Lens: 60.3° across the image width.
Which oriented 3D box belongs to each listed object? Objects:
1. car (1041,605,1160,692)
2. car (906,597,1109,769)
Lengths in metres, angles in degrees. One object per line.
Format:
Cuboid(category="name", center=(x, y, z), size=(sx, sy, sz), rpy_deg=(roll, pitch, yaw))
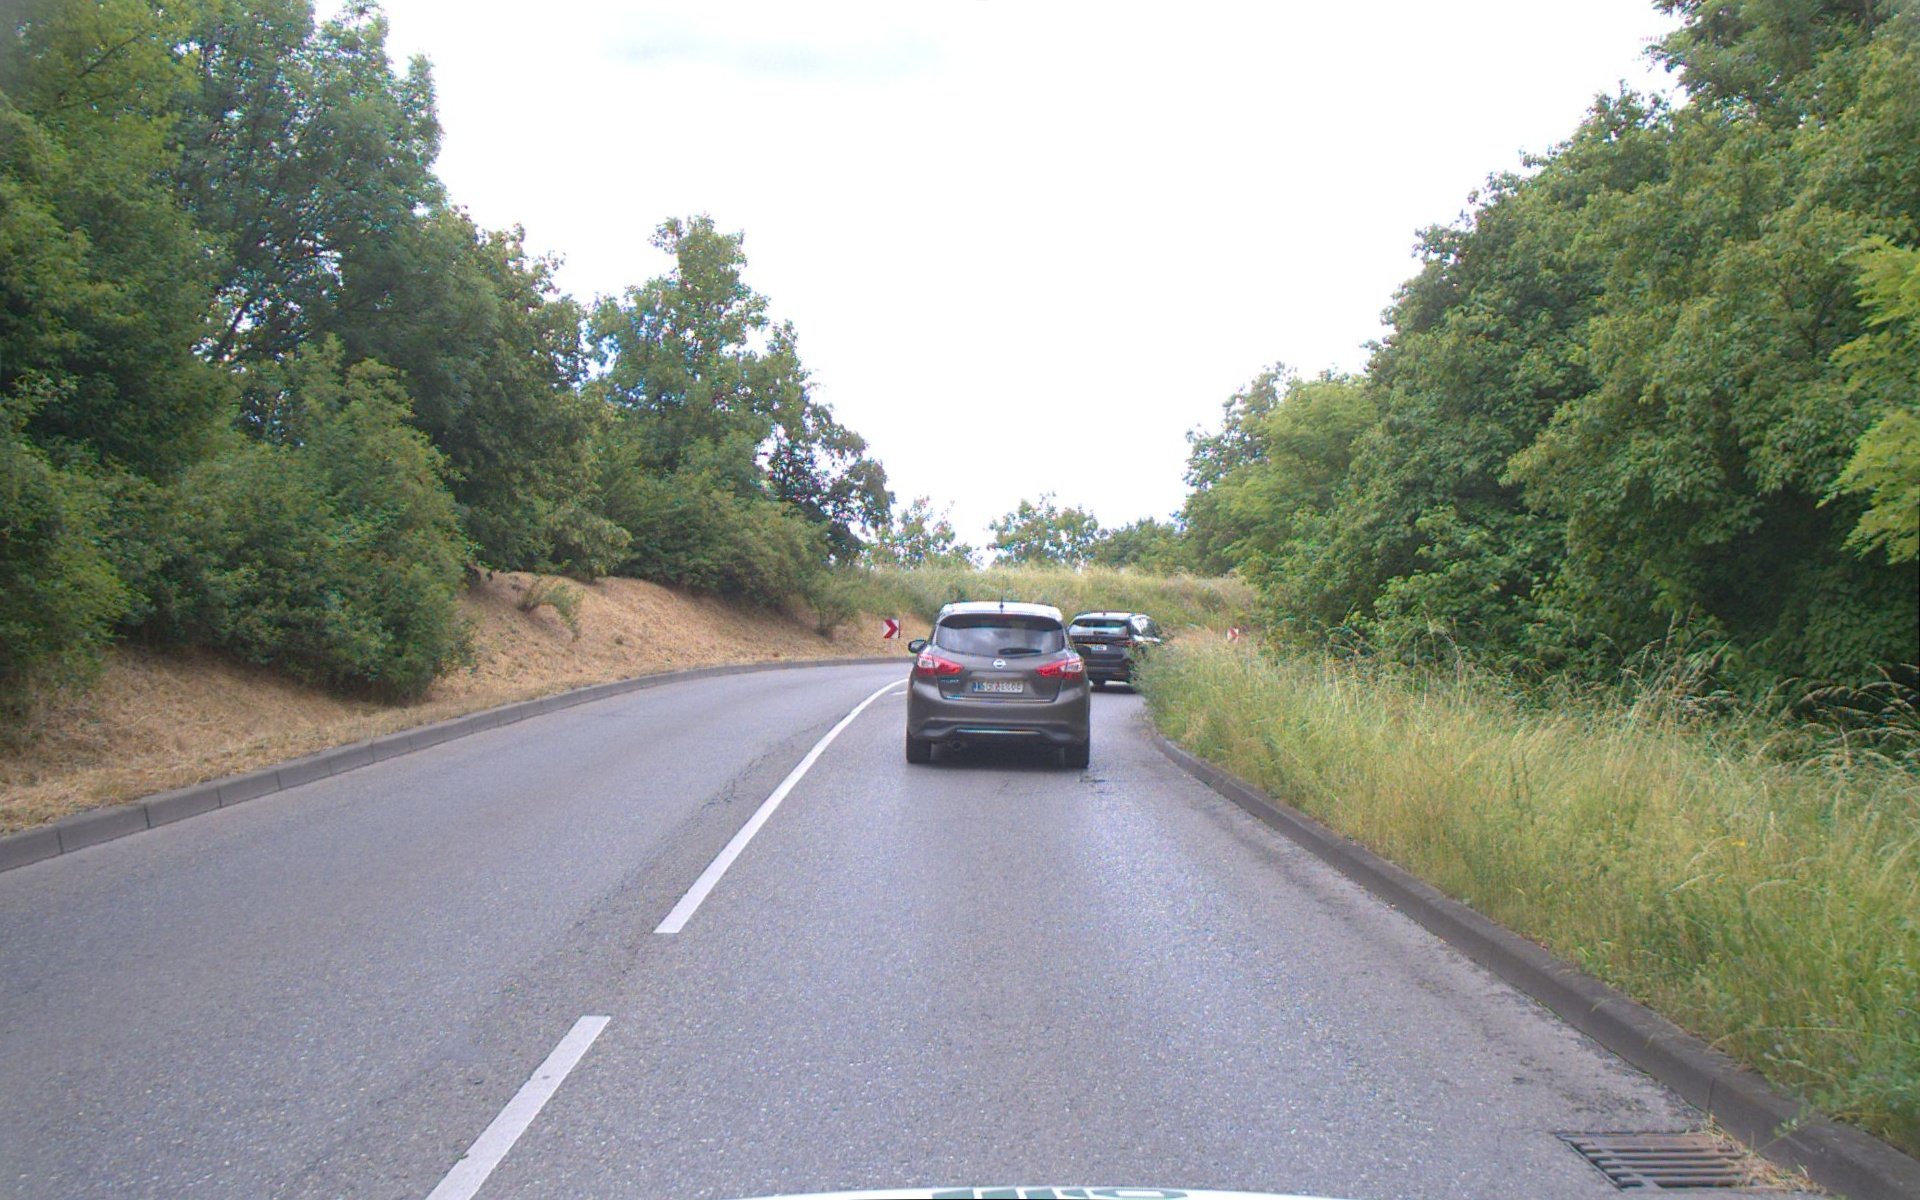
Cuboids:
Cuboid(category="car", center=(2.793, 0.886, 32.169), size=(1.859, 1.492, 4.004), rpy_deg=(1, 0, 11))
Cuboid(category="car", center=(0.370, 0.744, 16.848), size=(1.807, 1.519, 3.999), rpy_deg=(1, 0, -2))
